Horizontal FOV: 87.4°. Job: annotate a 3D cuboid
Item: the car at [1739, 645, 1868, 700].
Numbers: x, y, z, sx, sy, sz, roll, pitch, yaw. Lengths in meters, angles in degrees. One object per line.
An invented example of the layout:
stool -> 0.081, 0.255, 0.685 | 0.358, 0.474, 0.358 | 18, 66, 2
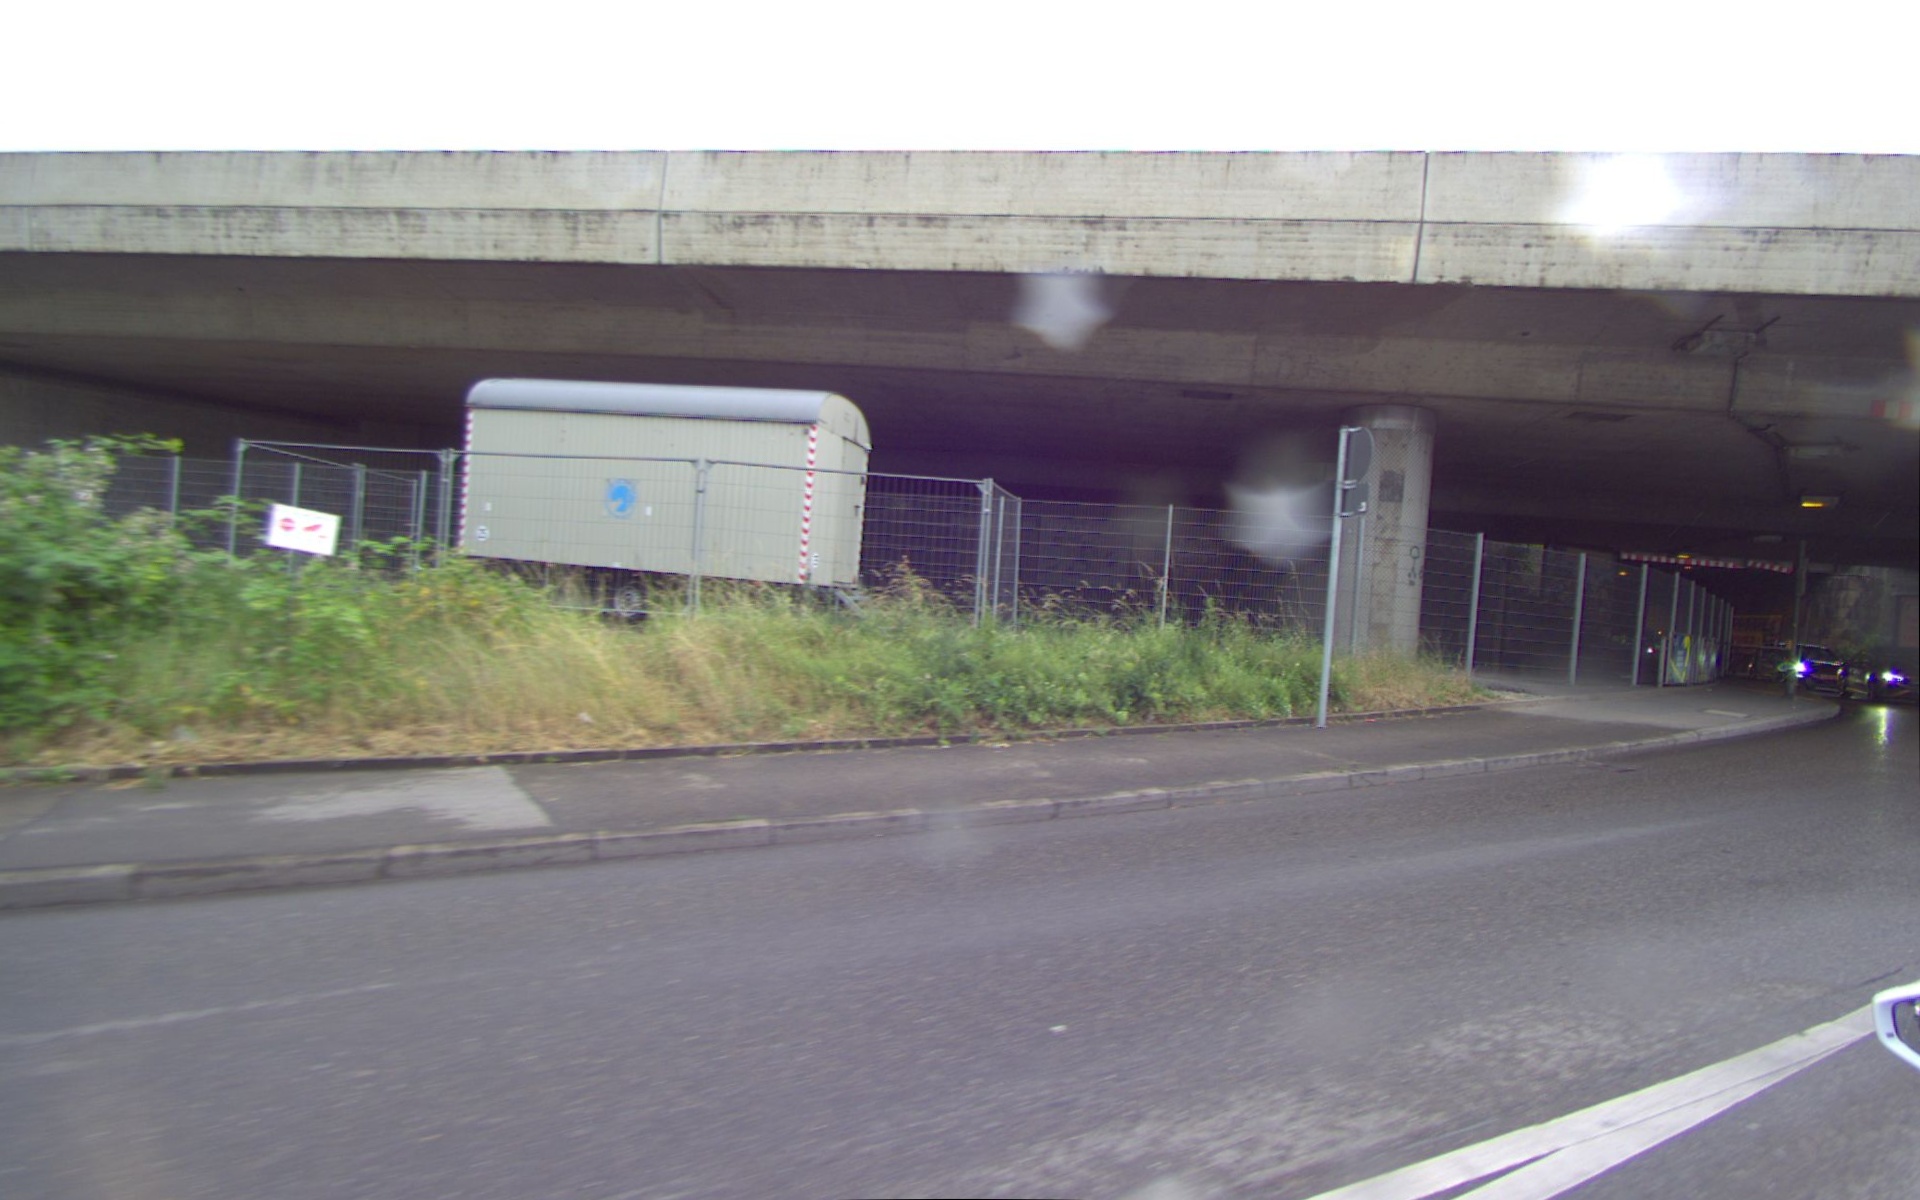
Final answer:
car -> 26.906, 2.250, 32.209 | 1.962, 1.484, 4.104 | 3, -1, 23

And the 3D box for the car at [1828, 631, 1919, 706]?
car -> 23.738, 1.697, 25.293 | 1.964, 1.550, 4.491 | 4, 2, 30
